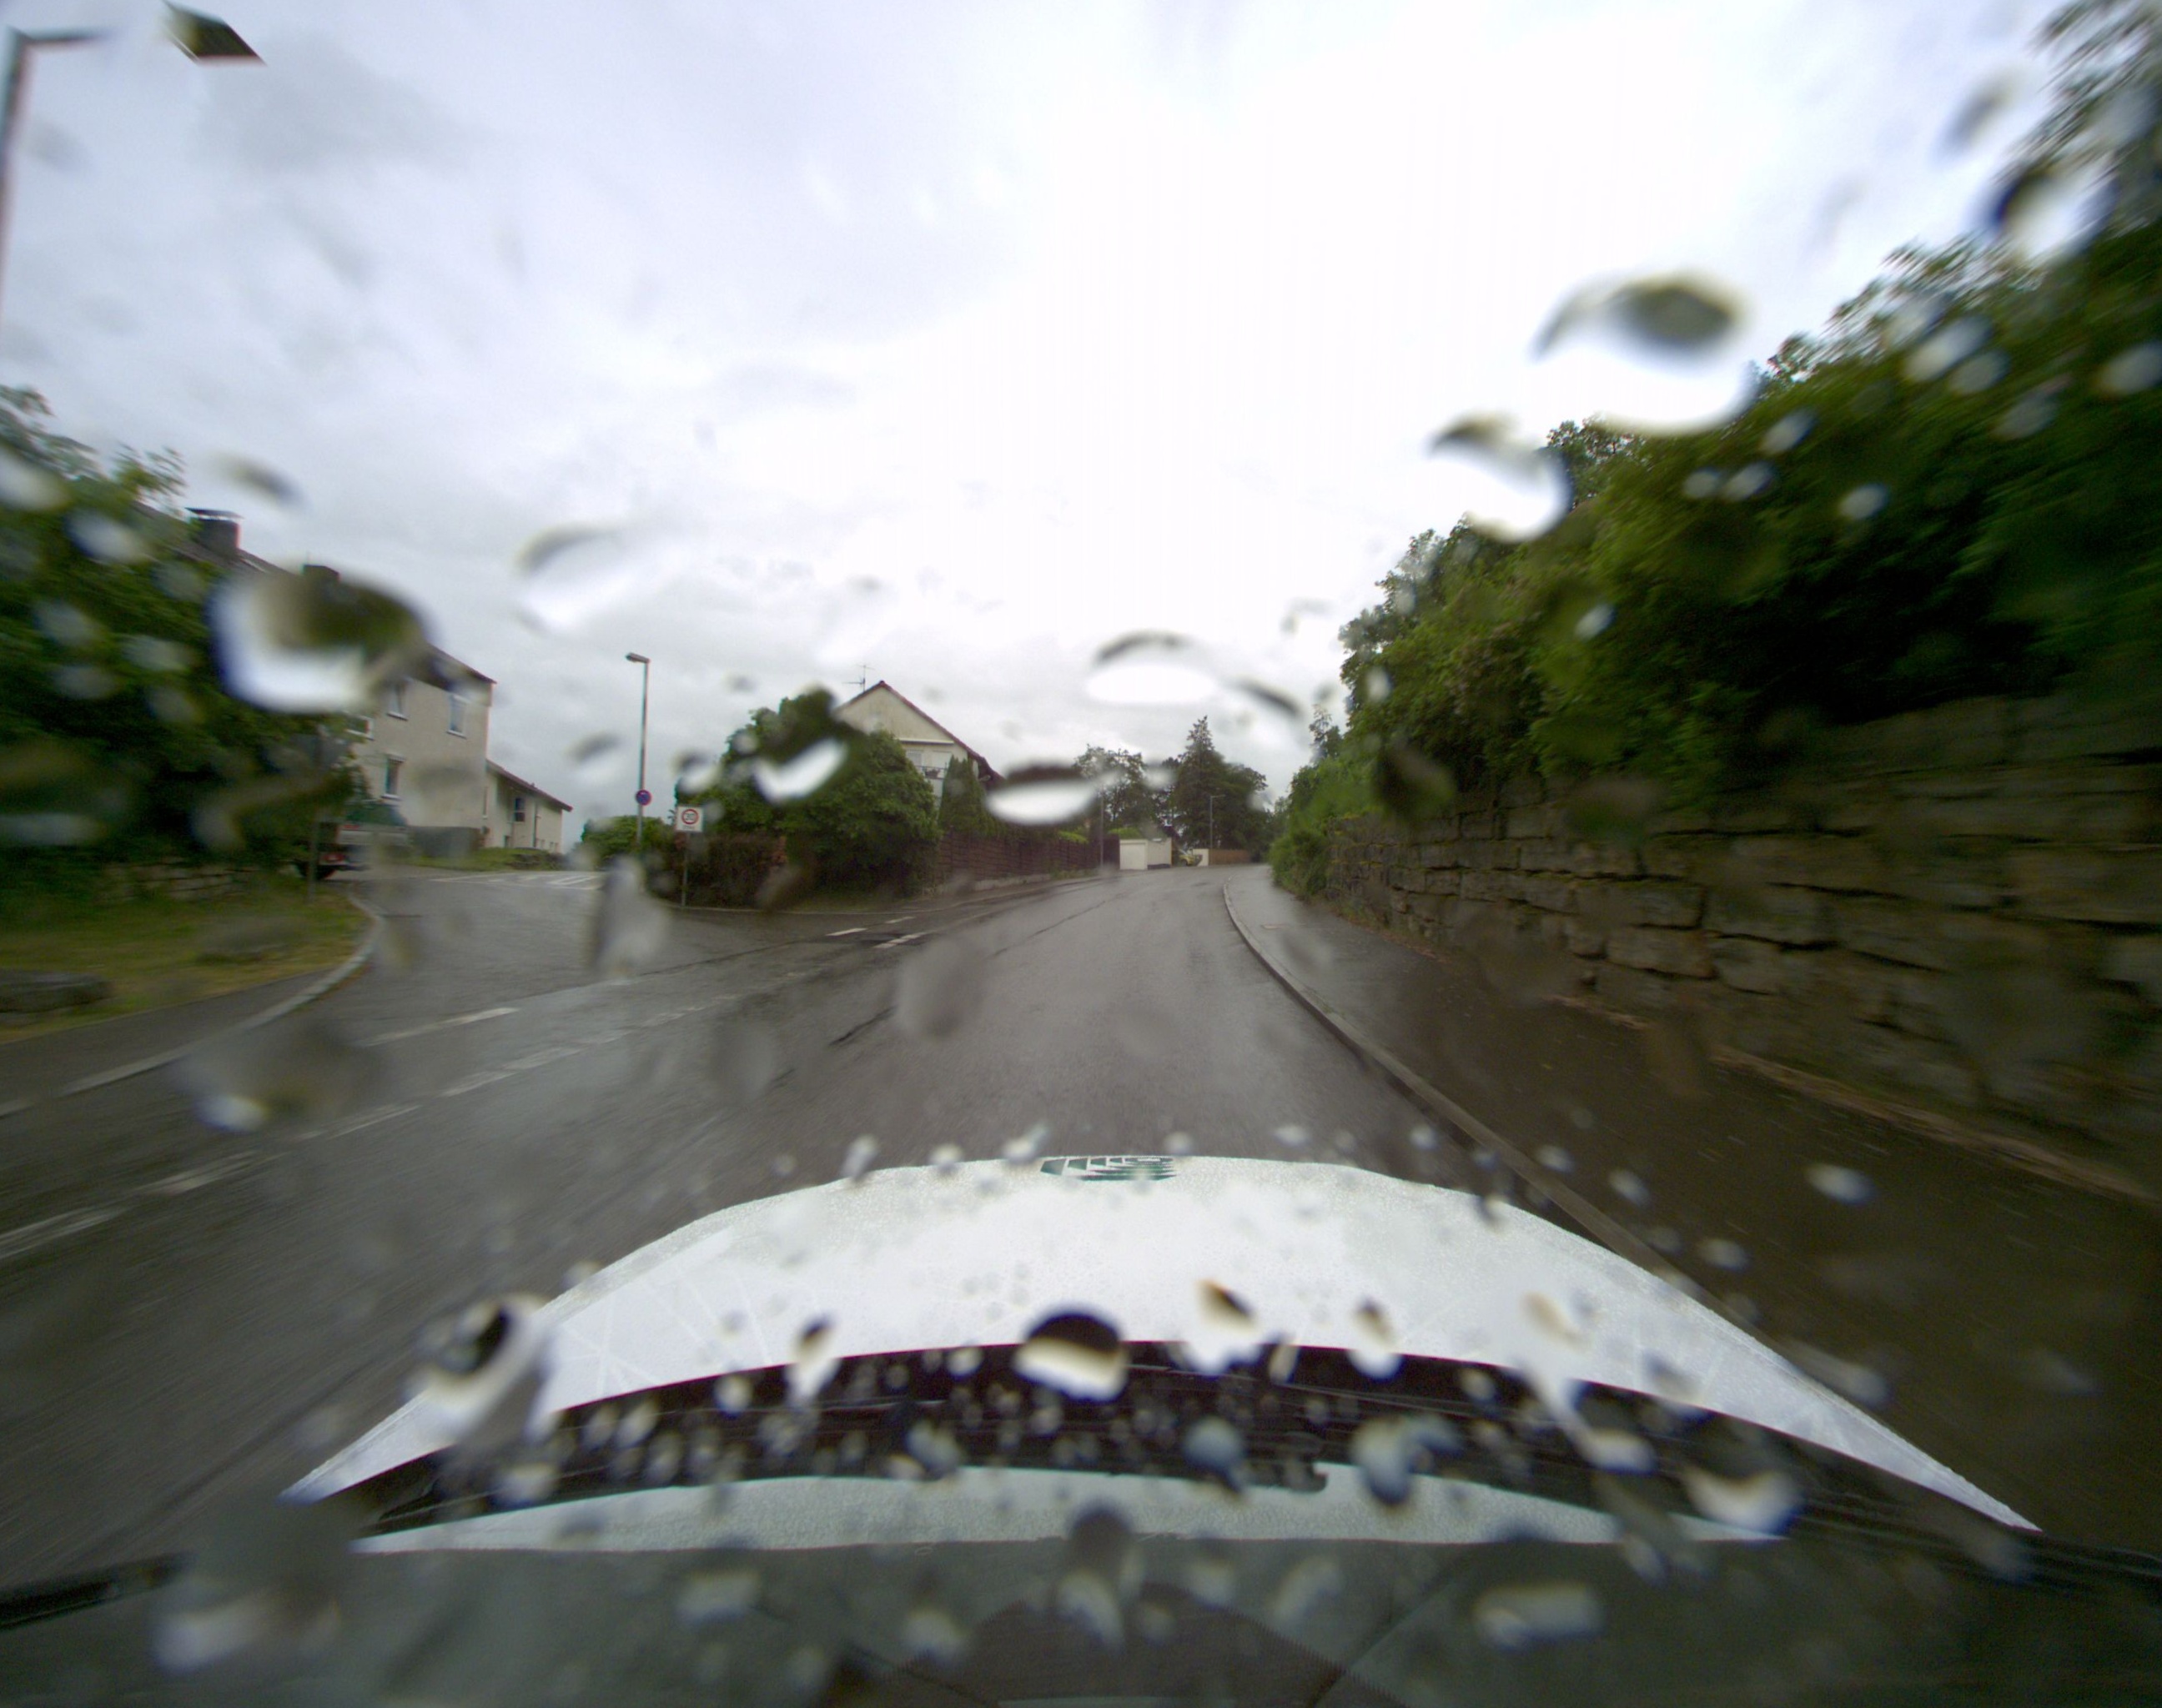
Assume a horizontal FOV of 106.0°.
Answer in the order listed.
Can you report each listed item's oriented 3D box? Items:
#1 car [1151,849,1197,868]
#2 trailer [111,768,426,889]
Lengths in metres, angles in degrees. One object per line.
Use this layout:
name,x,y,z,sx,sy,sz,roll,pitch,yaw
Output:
car,10.018,0.501,88.047,4.462,1.860,2.101,-2,-1,24
trailer,-16.681,-0.471,16.993,3.984,2.005,2.156,5,-1,-8
